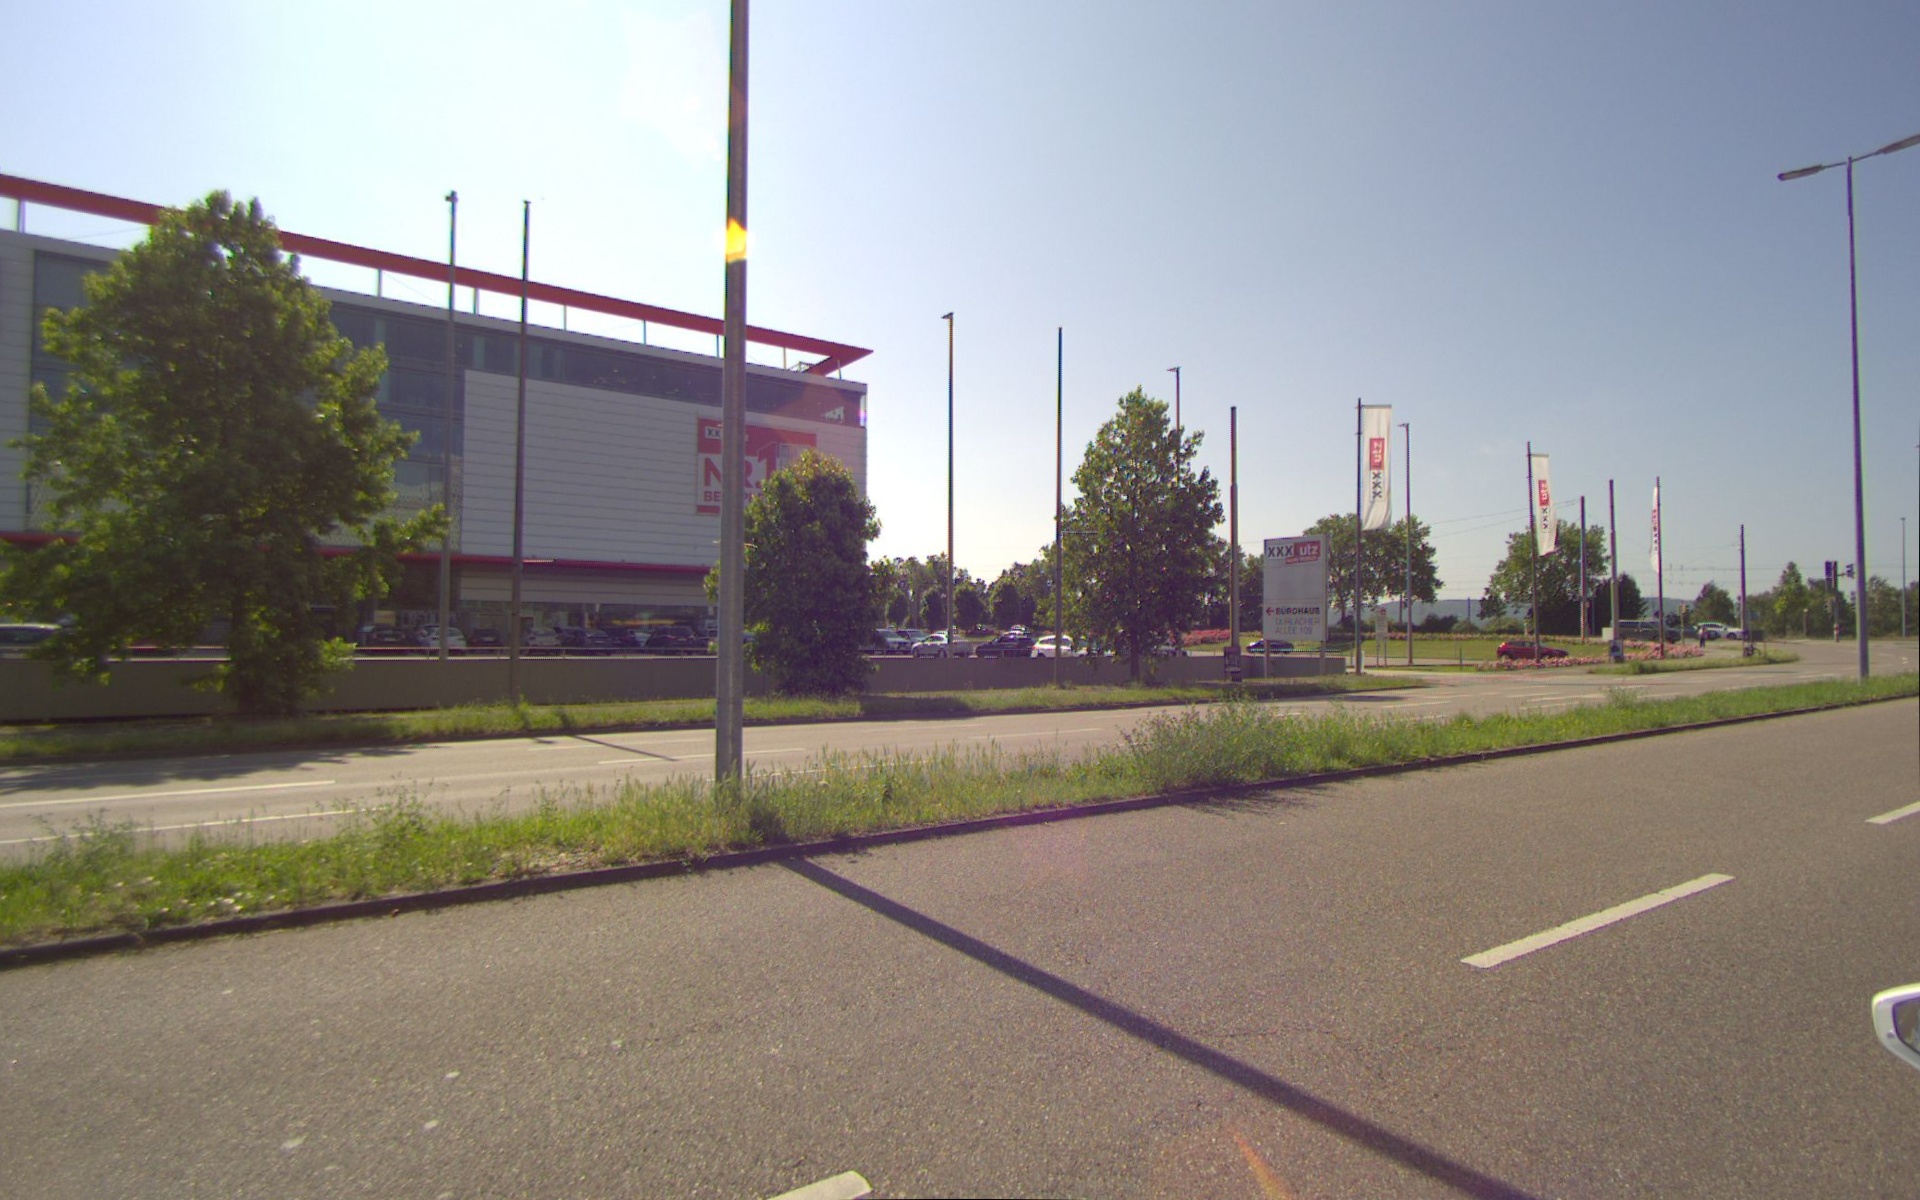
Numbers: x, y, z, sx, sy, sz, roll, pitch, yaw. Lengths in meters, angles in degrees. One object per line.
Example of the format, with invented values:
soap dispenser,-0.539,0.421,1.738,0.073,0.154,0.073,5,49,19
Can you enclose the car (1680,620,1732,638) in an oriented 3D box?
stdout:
car,64.577,2.524,87.003,1.397,1.519,3.361,3,-3,-37

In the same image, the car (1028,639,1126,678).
car,5.151,2.567,44.729,1.854,1.648,4.381,3,-4,-37

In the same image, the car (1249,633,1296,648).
car,28.693,3.754,92.322,1.713,1.347,3.821,3,-3,-36

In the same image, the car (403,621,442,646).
car,-30.239,1.874,56.478,1.501,1.347,3.066,3,-3,-36

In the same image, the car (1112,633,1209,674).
car,9.405,2.511,47.462,1.927,1.866,4.384,2,-3,-35

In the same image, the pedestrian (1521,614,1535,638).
pedestrian,49.156,2.256,86.963,0.907,1.997,0.712,2,-3,-31

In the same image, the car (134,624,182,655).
car,-36.477,1.790,45.757,1.501,1.347,3.192,3,-3,-36

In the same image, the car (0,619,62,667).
car,-21.956,1.014,23.596,1.062,1.073,2.494,3,-3,-37

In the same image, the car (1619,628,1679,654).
car,57.428,3.388,83.756,1.785,1.951,3.989,0,0,-13

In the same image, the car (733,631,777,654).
car,-12.698,2.630,62.070,1.501,1.347,3.066,3,-3,-36

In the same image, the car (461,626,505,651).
car,-27.368,2.195,57.587,1.614,1.347,3.640,3,-3,-36

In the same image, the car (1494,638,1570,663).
car,39.102,3.442,68.714,1.812,1.626,4.149,3,-3,-39

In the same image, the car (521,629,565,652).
car,-22.841,2.204,54.967,1.466,1.214,3.475,3,-3,-36

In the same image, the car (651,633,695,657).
car,-16.781,2.629,58.693,1.501,1.310,3.067,3,-3,-36

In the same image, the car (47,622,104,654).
car,-38.379,1.659,43.647,1.501,1.347,3.192,3,-3,-36

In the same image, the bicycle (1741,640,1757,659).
bicycle,44.343,2.810,56.448,1.630,1.036,0.328,4,-5,-39

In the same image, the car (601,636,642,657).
car,-21.083,2.873,62.482,1.591,1.244,3.066,3,-3,-36

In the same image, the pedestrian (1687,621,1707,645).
pedestrian,54.397,2.461,74.125,0.893,1.729,0.838,0,-2,-23

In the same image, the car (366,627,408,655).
car,-29.027,2.060,50.875,1.501,1.347,3.066,3,-3,-36

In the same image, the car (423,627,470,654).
car,-26.763,2.091,52.324,1.688,1.347,3.066,3,-3,-36

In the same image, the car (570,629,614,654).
car,-20.635,2.331,56.306,1.501,1.347,3.066,3,-3,-36

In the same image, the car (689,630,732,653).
car,-15.067,2.525,60.627,1.501,1.347,3.066,3,-3,-36

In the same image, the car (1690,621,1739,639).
car,67.222,2.663,89.521,1.398,1.519,3.317,3,-3,-39

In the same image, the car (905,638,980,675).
car,-1.068,3.301,58.657,2.012,2.040,4.635,1,-3,-38
